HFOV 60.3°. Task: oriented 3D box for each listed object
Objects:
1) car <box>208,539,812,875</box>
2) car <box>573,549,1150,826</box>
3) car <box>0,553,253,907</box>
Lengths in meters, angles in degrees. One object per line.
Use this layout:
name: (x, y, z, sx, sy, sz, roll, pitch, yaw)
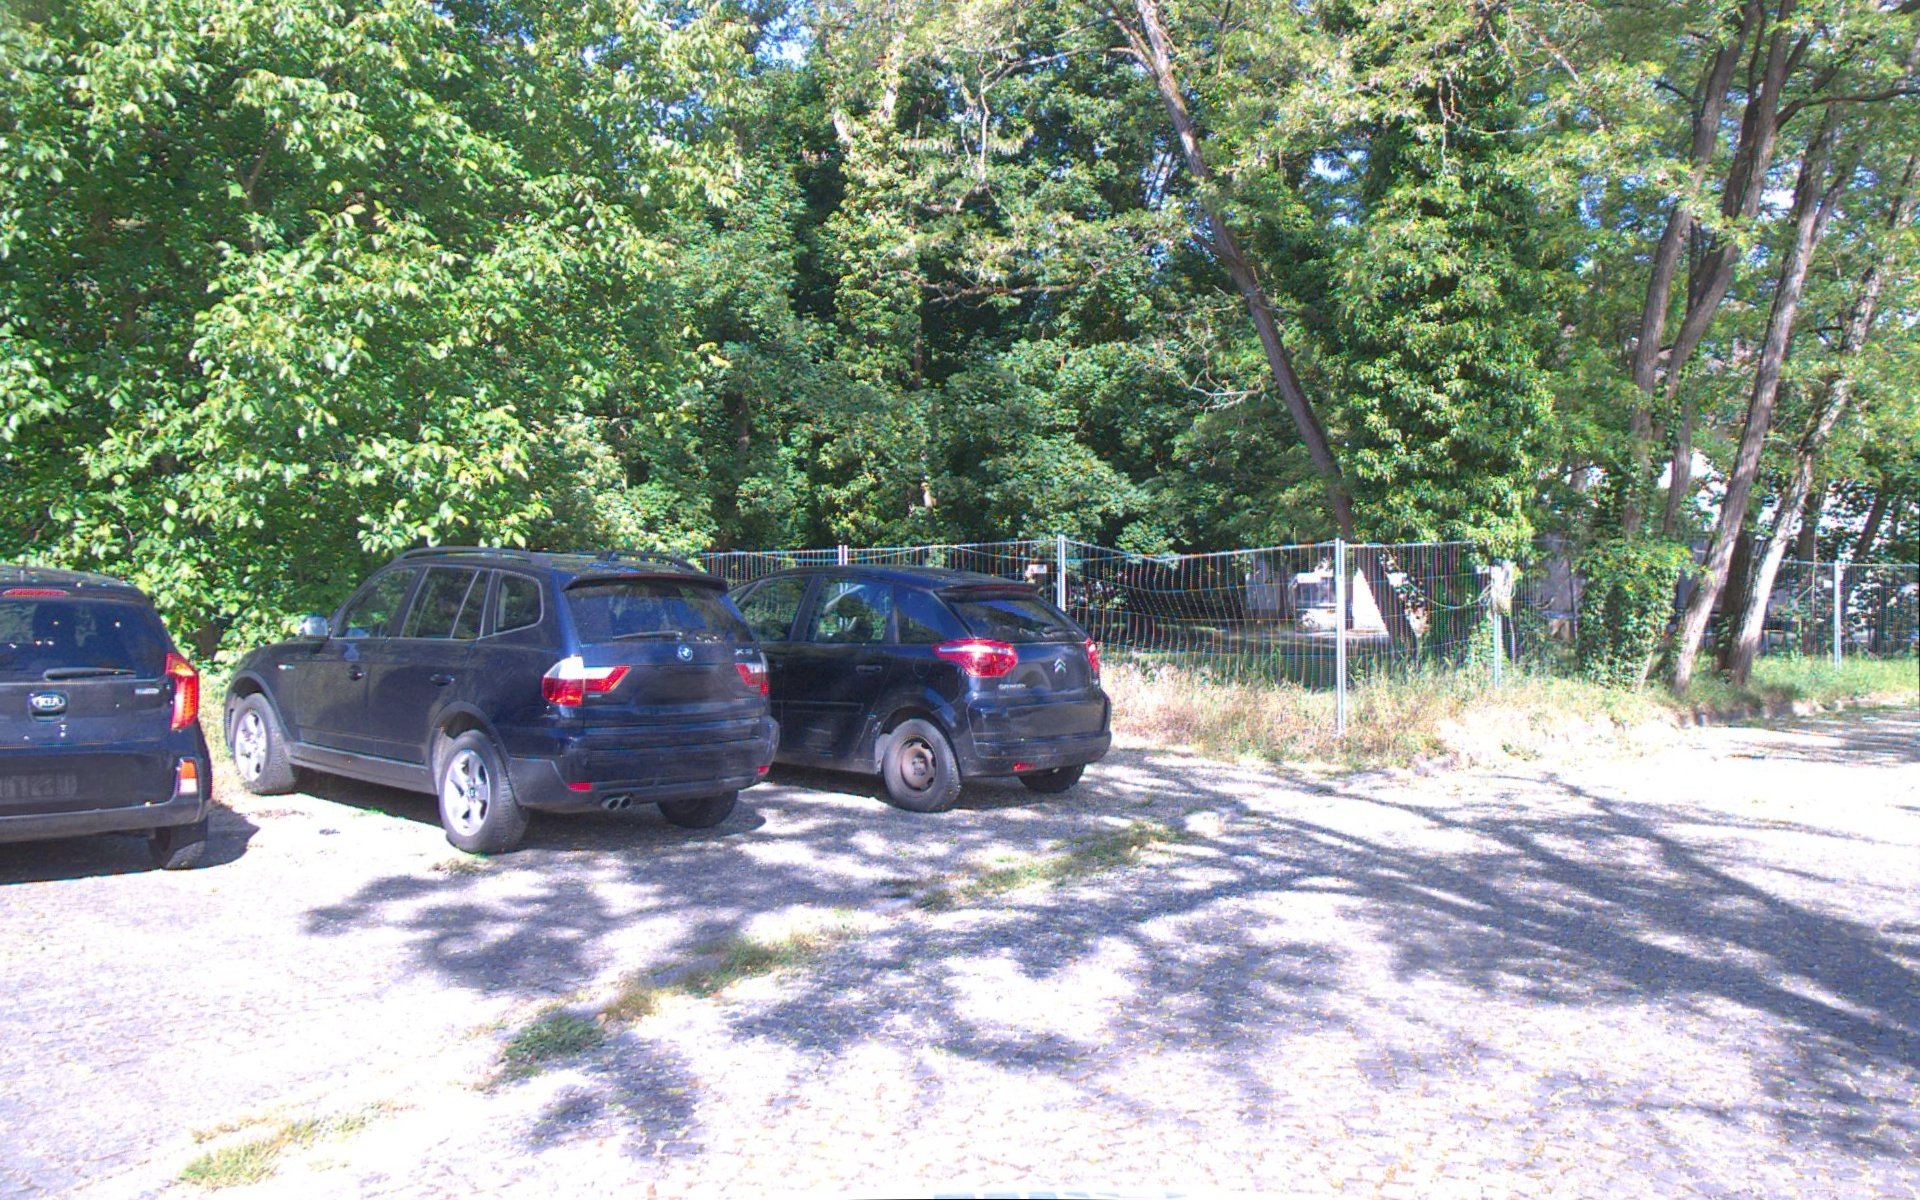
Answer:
car: (-3.003, 0.494, 10.539, 4.117, 1.685, 1.806, 3, 2, 43)
car: (-0.846, 0.532, 12.704, 4.214, 1.680, 1.787, 3, 2, 35)
car: (-5.220, 0.529, 8.784, 1.664, 1.542, 3.498, 2, 1, -41)
